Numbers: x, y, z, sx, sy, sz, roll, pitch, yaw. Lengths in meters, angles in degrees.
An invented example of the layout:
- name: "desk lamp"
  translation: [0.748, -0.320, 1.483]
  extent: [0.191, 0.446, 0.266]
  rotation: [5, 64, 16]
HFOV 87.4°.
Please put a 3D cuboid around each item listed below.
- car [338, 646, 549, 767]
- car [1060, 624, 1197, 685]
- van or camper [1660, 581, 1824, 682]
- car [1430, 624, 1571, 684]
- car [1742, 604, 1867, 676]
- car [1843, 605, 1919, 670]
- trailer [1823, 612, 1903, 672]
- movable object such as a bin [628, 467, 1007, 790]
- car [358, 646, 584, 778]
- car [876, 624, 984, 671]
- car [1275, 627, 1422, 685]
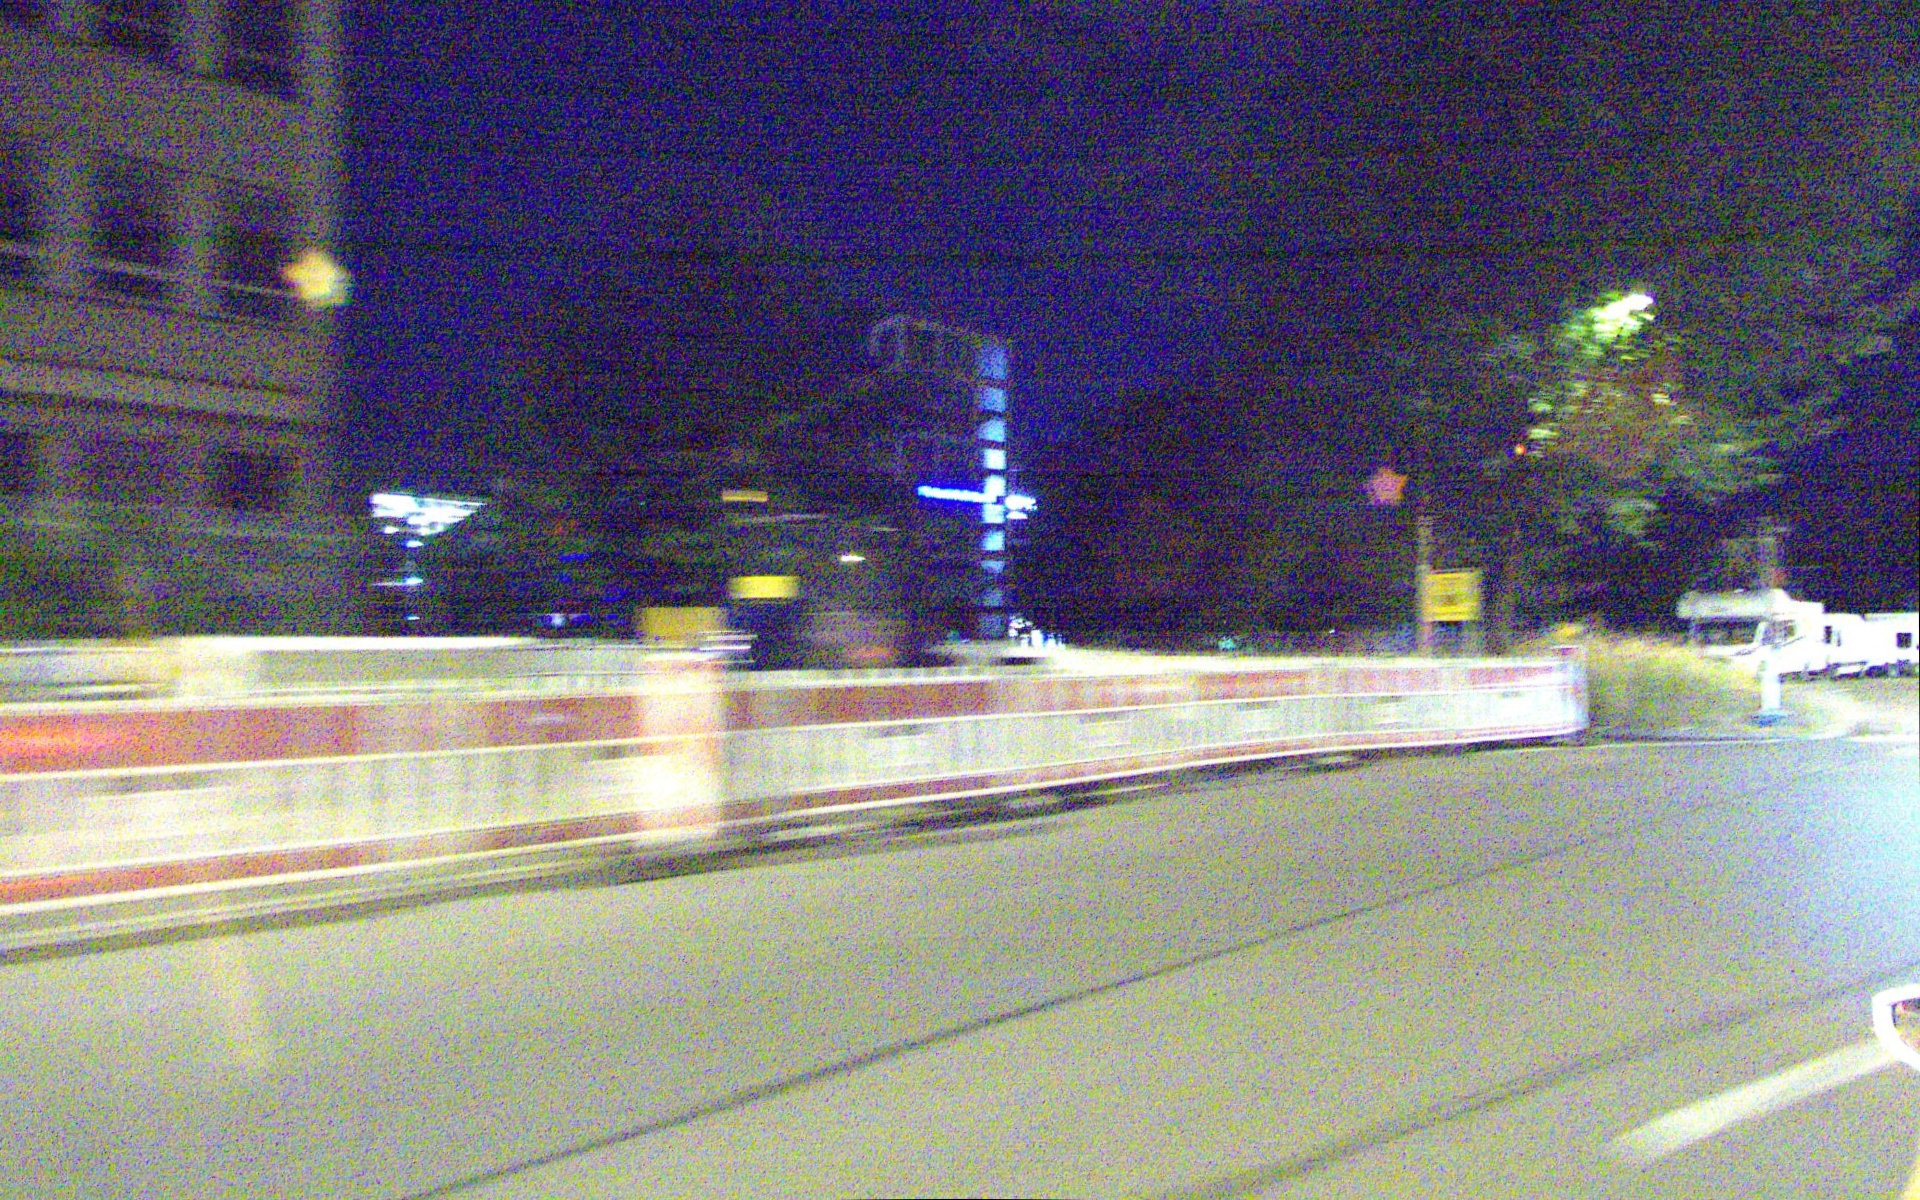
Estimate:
- name: "car"
  translation: [-12.698, 2.499, 24.769]
  extent: [4.435, 2.588, 1.982]
  rotation: [1, 0, -33]
- name: "car"
  translation: [7.654, 2.475, 45.714]
  extent: [5.776, 2.588, 1.995]
  rotation: [1, 0, -13]
- name: "van or camper"
  translation: [26.860, 1.134, 34.364]
  extent: [7.374, 3.135, 2.502]
  rotation: [2, -3, -36]
- name: "car"
  translation: [27.493, 2.743, 51.119]
  extent: [6.564, 2.880, 1.995]
  rotation: [1, 0, -13]
- name: "car"
  translation: [33.911, 1.620, 40.232]
  extent: [7.030, 2.640, 2.499]
  rotation: [2, -3, -39]
- name: "car"
  translation: [45.251, 1.846, 48.692]
  extent: [7.140, 2.965, 2.499]
  rotation: [2, -3, -39]
- name: "trailer"
  translation: [39.736, 1.847, 44.181]
  extent: [3.535, 2.560, 1.979]
  rotation: [2, -3, -37]
- name: "movable object such as a bin"
  translation: [-1.357, 0.302, 10.466]
  extent: [3.676, 2.770, 1.555]
  rotation: [1, -3, -44]
- name: "car"
  translation: [-11.142, 2.429, 22.959]
  extent: [4.435, 2.588, 1.982]
  rotation: [1, 0, -33]
- name: "car"
  translation: [-1.327, 2.057, 43.734]
  extent: [4.405, 1.909, 1.995]
  rotation: [1, 0, -13]
- name: "car"
  translation: [18.609, 2.675, 48.152]
  extent: [6.564, 2.588, 1.995]
  rotation: [1, 0, -13]
